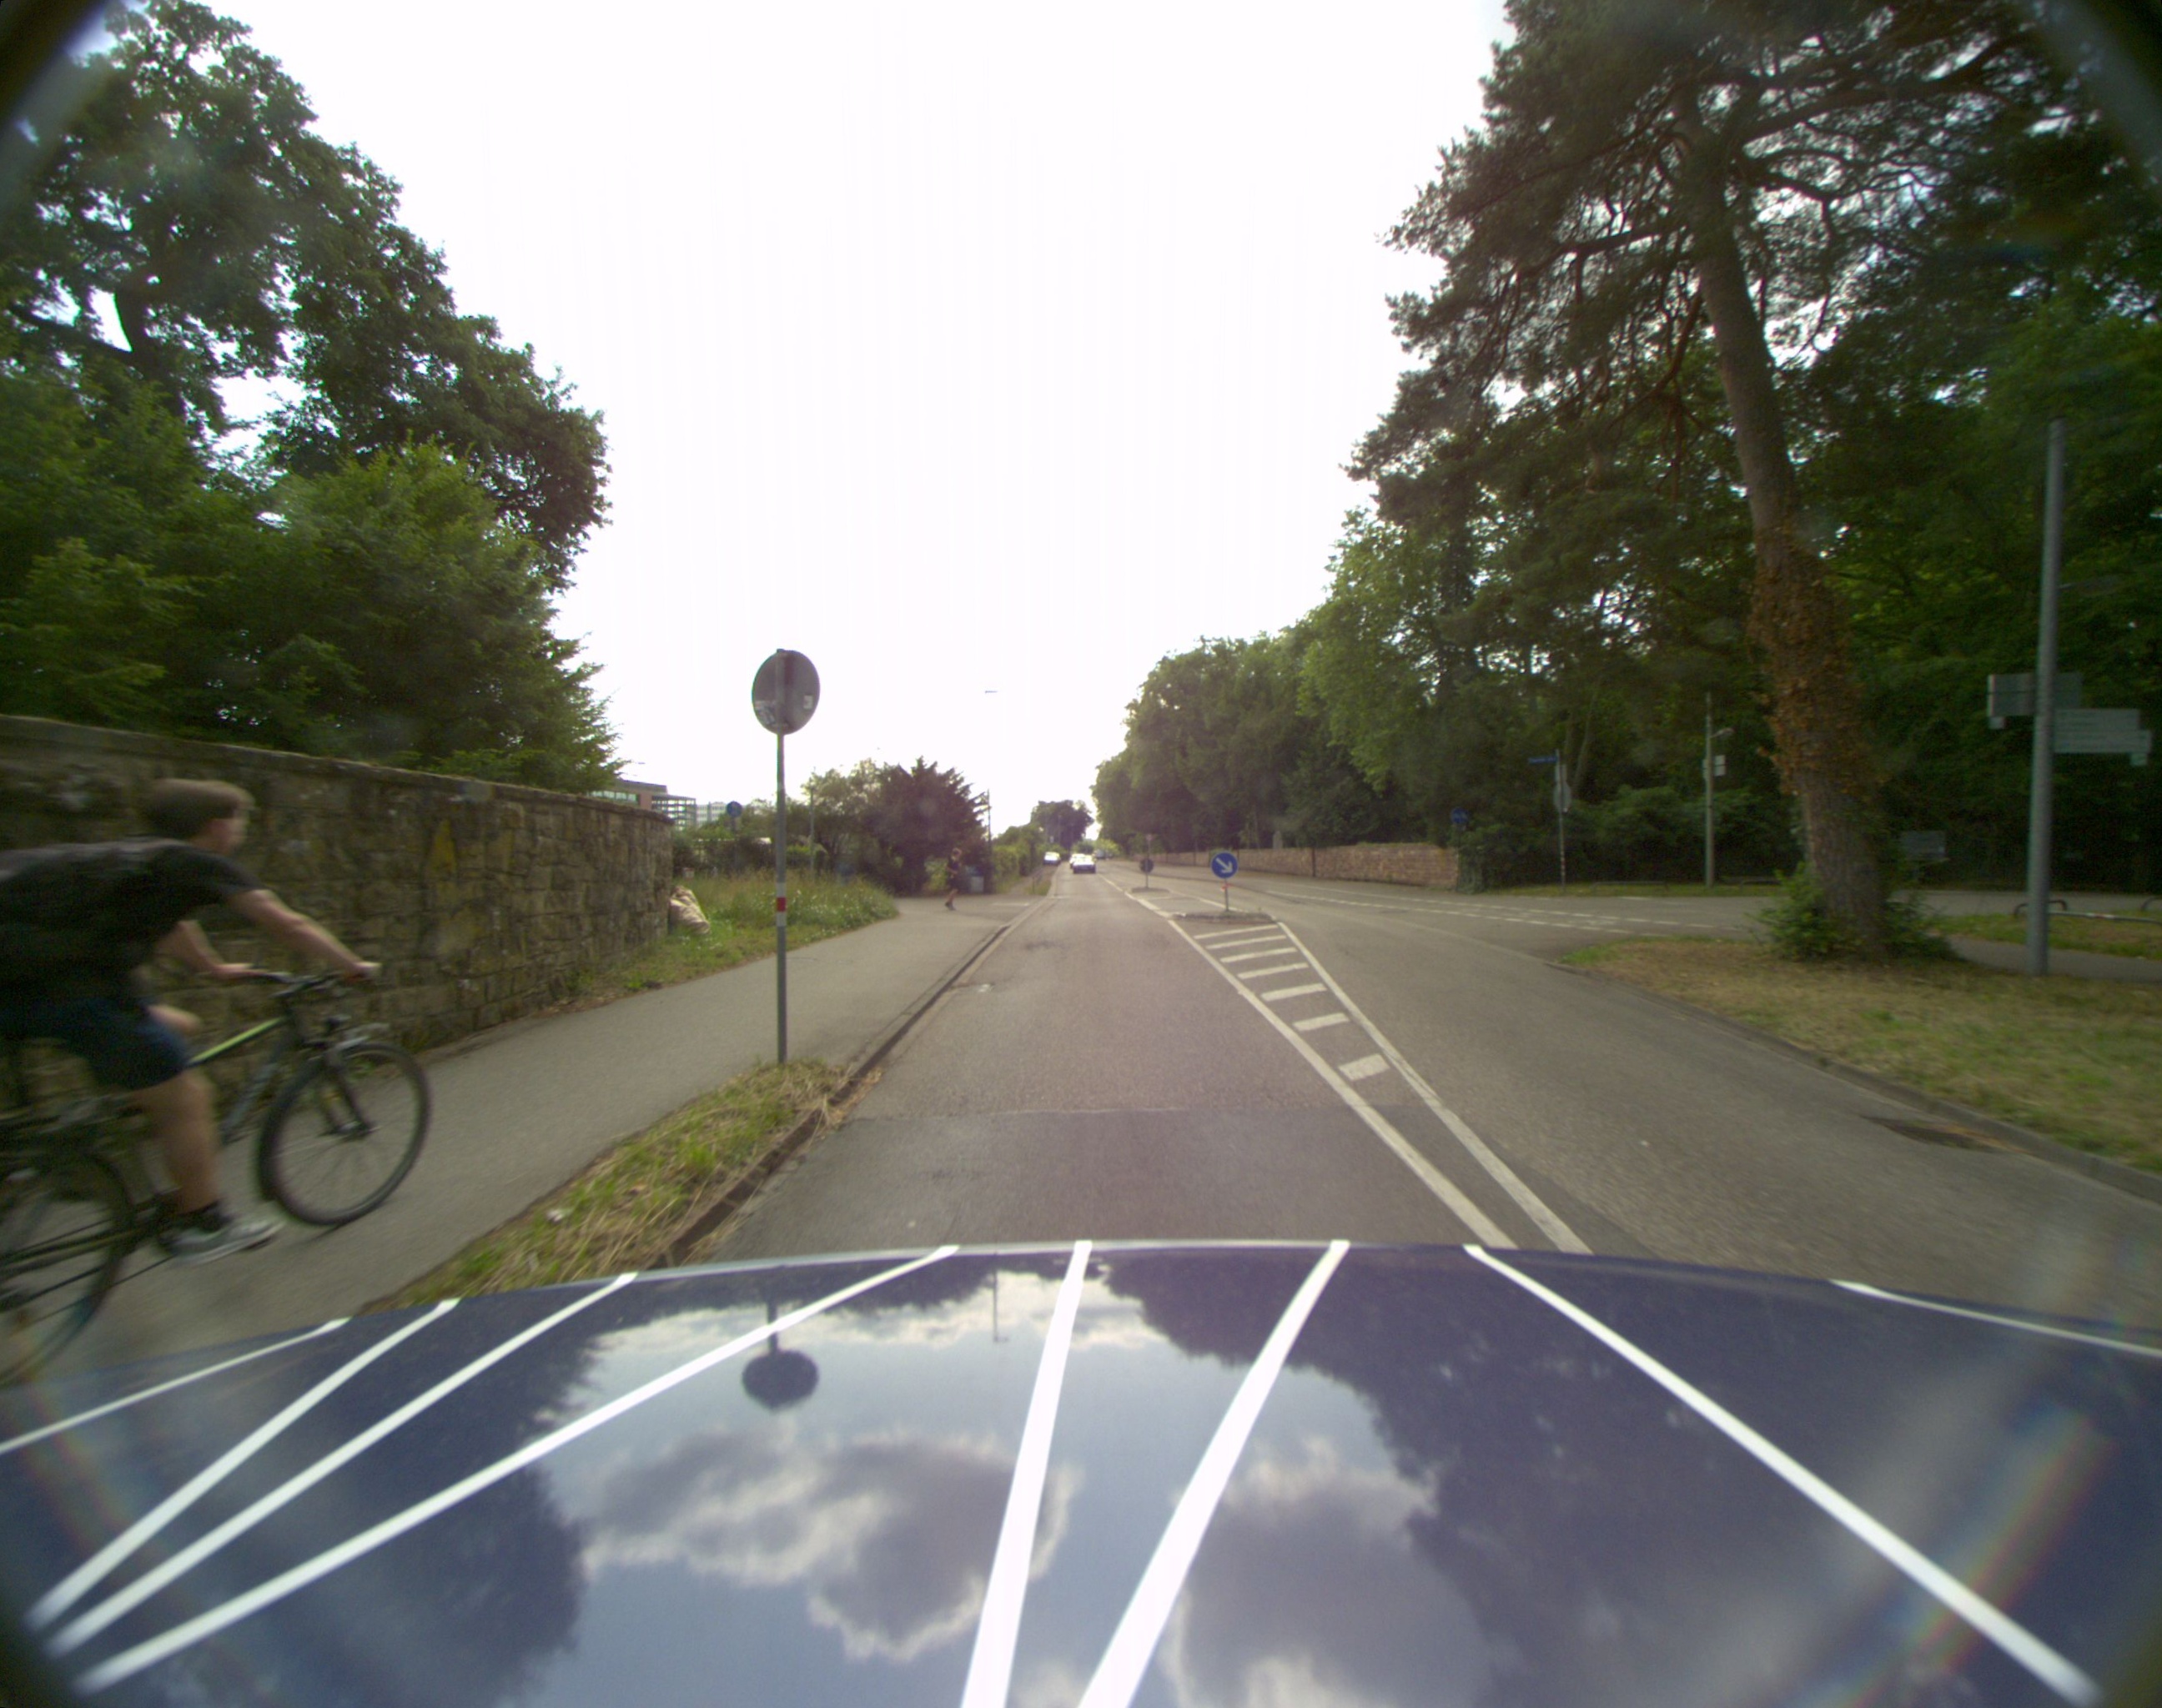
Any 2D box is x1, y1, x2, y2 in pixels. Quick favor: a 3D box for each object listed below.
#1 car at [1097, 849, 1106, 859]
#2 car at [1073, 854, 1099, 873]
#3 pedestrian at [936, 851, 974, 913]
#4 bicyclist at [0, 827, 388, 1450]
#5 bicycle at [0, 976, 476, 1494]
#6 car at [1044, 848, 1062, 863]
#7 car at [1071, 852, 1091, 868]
[{"bbox_3d":[4.854,-0.075,177.407,1.998,2.221,4.375,0,1,0],"label":"car"},{"bbox_3d":[0.388,0.777,61.739,1.965,1.455,4.530,-2,-1,0],"label":"car"},{"bbox_3d":[-3.440,0.748,20.778,0.831,1.642,0.626,1,2,18],"label":"pedestrian"},{"bbox_3d":[-3.000,0.715,2.353,0.571,1.579,1.205,1,1,1],"label":"bicyclist"},{"bbox_3d":[-3.006,1.085,2.315,0.559,1.066,2.157,1,0,1],"label":"bicycle"},{"bbox_3d":[-3.278,0.159,89.787,1.799,1.652,4.000,-2,0,1],"label":"car"},{"bbox_3d":[-0.020,0.627,76.751,1.965,1.455,4.529,1,-1,-1],"label":"car"}]
